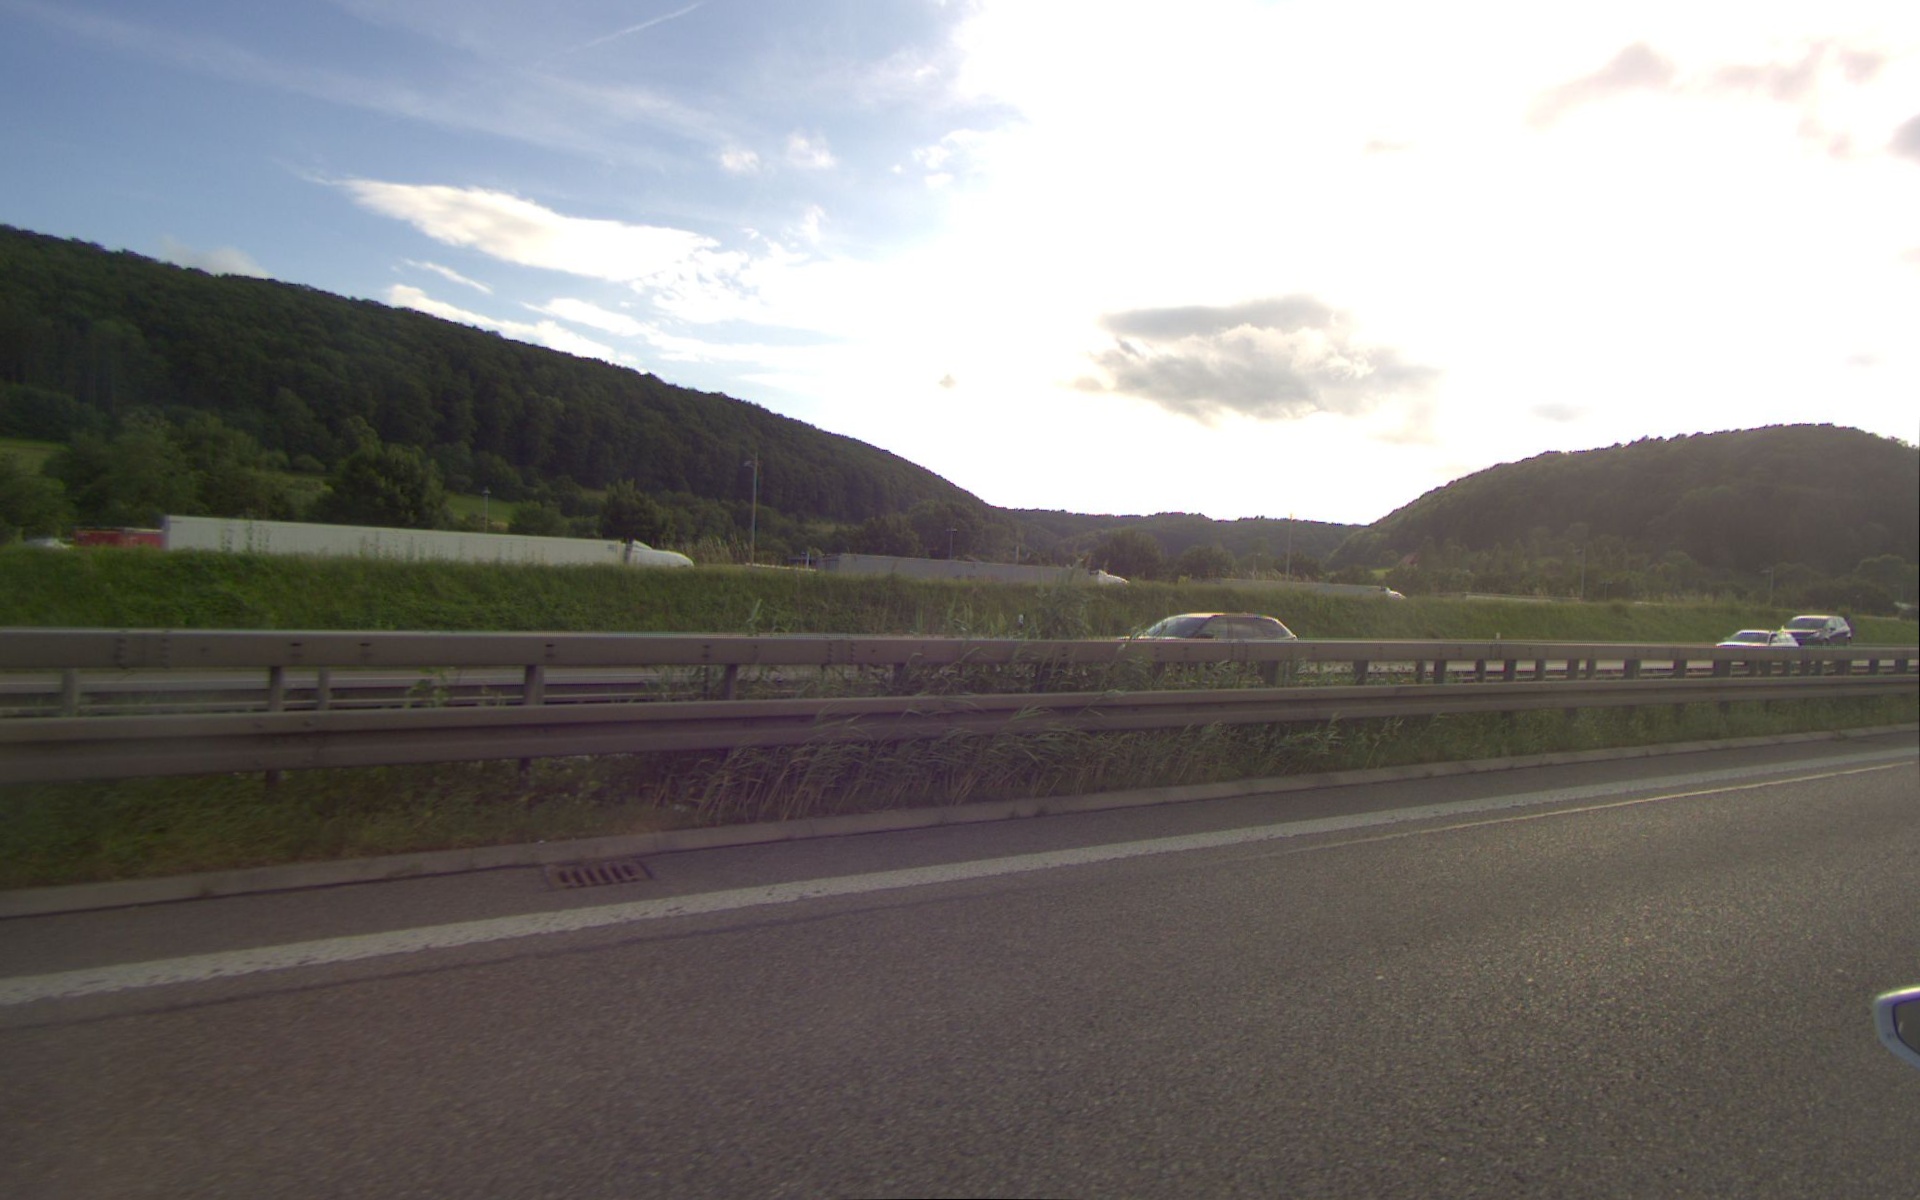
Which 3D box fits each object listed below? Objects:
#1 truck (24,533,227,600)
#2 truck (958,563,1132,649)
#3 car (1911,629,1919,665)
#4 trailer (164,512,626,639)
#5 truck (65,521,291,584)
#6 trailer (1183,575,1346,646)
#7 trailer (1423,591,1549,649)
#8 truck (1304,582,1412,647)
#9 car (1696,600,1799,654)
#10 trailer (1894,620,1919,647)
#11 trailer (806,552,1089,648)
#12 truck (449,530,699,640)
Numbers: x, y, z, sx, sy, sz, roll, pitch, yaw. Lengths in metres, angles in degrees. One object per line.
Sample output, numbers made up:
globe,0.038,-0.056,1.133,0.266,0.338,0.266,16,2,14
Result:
truck,-57.503,-2.172,69.857,2.535,3.907,11.387,3,-1,14
truck,4.256,0.409,49.292,8.398,3.739,2.867,3,-3,-32
car,42.006,1.979,42.300,3.829,1.495,1.941,2,-2,-32
trailer,-18.952,-0.572,35.088,13.525,3.744,2.862,2,-2,-32
truck,-32.899,-1.936,42.721,2.842,2.040,7.313,3,-1,14
trailer,17.562,0.695,57.580,10.255,3.745,2.862,2,-1,-31
trailer,36.307,1.442,69.152,10.255,3.745,2.862,2,-1,-31
truck,24.560,0.935,61.890,6.518,3.739,2.866,2,-1,-32
car,32.887,1.154,41.920,4.470,2.141,1.941,2,-2,-32
trailer,110.718,3.957,114.890,11.250,2.891,2.566,4,-1,-31
trailer,-0.231,0.185,46.547,13.523,3.744,2.862,3,-3,-32
truck,-14.433,-0.395,37.903,8.398,3.739,2.866,2,-2,-32
